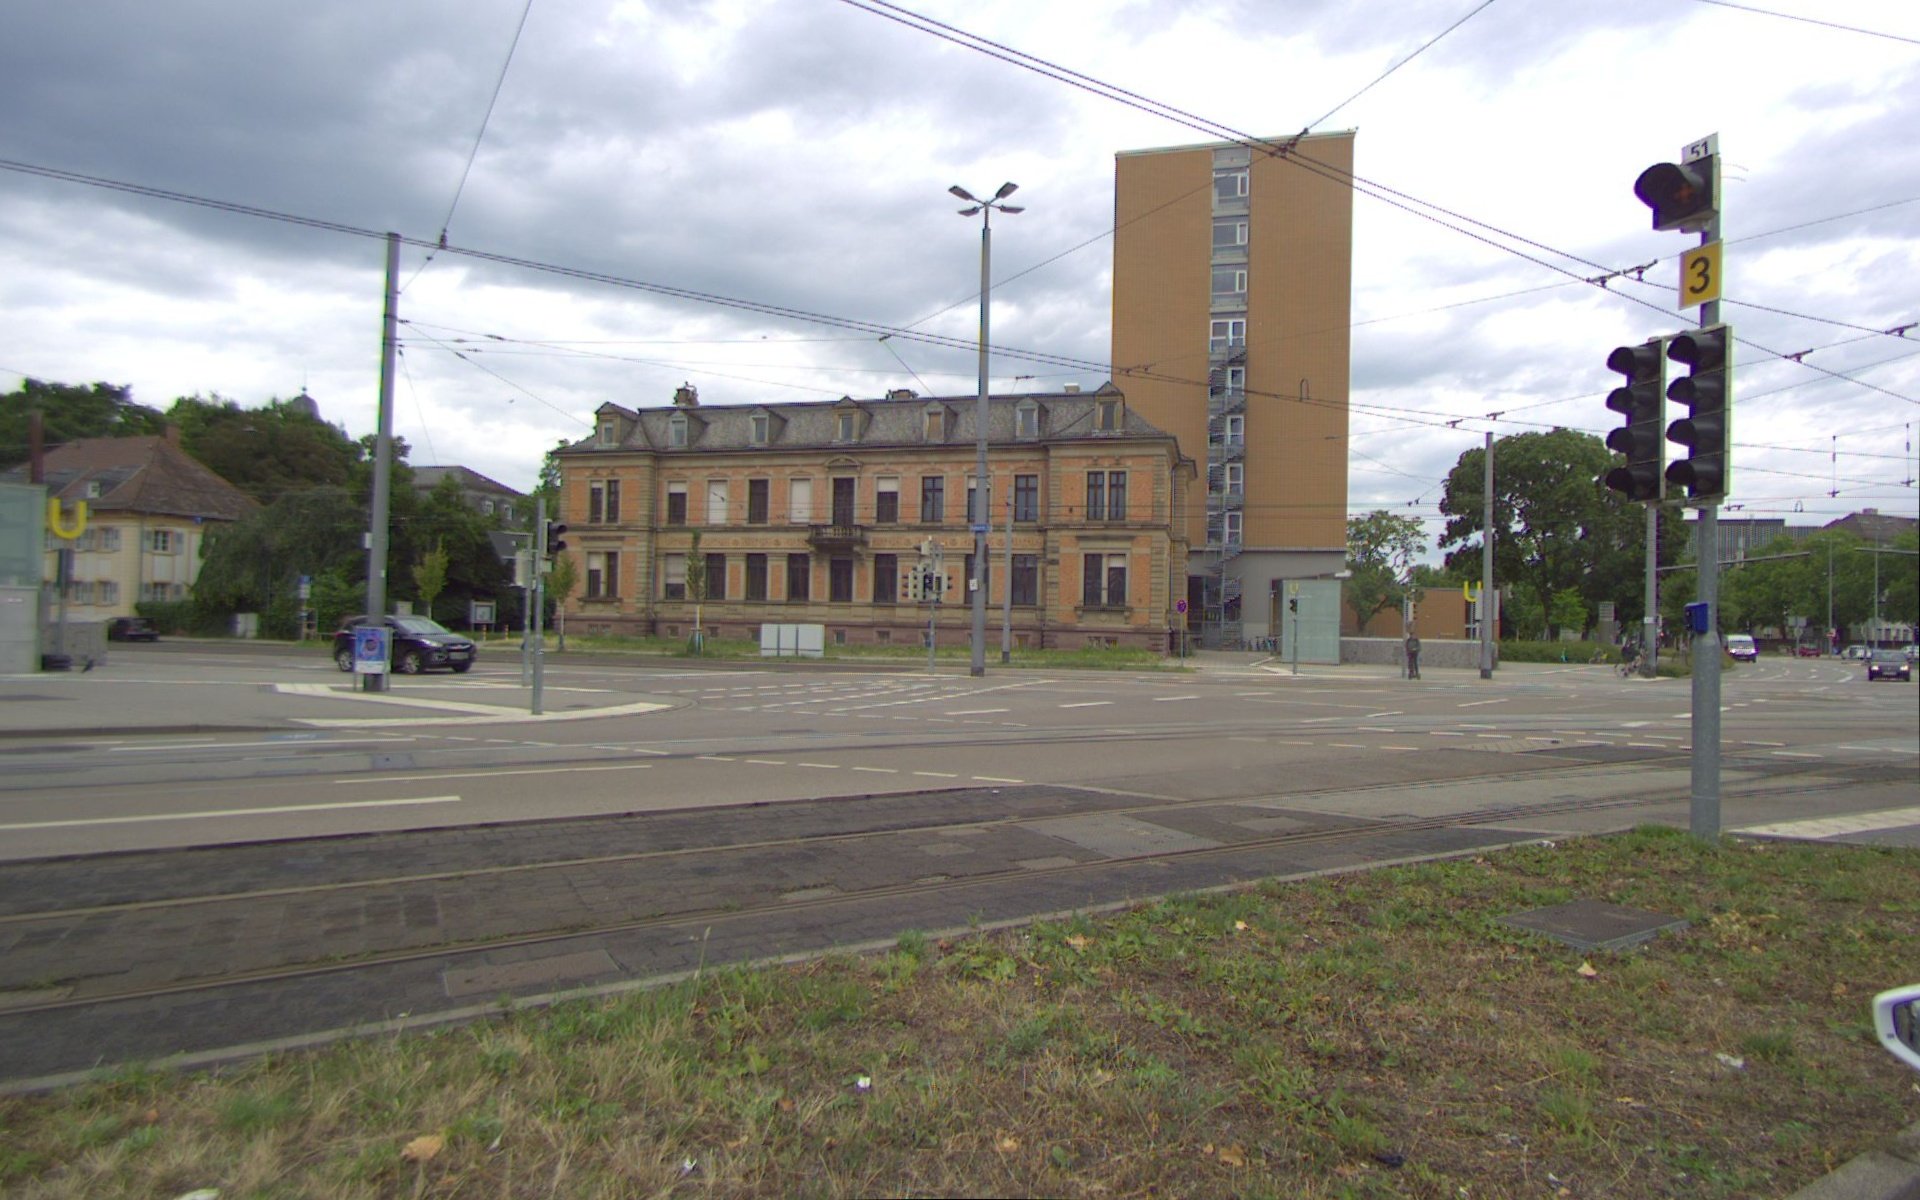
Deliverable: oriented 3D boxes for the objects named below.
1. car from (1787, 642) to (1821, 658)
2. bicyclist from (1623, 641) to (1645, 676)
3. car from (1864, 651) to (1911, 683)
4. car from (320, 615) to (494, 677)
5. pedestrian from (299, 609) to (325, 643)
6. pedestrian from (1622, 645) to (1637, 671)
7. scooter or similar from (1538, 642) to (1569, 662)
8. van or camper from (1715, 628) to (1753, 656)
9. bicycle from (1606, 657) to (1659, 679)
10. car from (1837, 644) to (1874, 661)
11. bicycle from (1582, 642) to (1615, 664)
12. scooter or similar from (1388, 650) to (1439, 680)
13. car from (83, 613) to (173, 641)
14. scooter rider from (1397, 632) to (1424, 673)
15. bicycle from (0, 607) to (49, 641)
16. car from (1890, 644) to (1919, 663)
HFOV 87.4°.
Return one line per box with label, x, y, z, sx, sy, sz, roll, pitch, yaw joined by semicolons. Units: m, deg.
car;99.099;5.834;117.996;1.962;1.795;3.999;1;-2;23
bicyclist;33.772;2.927;50.350;0.803;1.678;0.789;0;-2;42
car;46.853;3.351;50.773;1.600;1.535;3.646;-1;-3;41
car;-16.132;1.308;29.399;4.159;1.632;2.001;1;-1;14
pedestrian;-35.319;1.418;54.777;0.832;1.857;0.811;1;-1;10
pedestrian;46.379;4.030;69.583;0.681;1.756;0.739;2;-2;-44
scooter or similar;39.920;3.480;67.596;1.744;1.319;0.629;0;-1;29
van or camper;72.333;3.912;93.938;2.247;2.561;5.560;-1;-2;32
bicycle;33.725;3.395;50.377;2.090;1.042;0.790;-1;-2;44
car;92.985;5.433;104.383;1.964;1.661;3.994;1;-2;28
bicycle;43.005;3.558;67.624;2.224;1.468;0.844;2;-1;-25
scooter or similar;18.453;2.639;40.888;1.872;1.180;0.573;1;-1;-9
car;-45.550;1.463;55.006;3.920;1.450;2.001;1;-2;18
scooter rider;18.340;2.128;40.883;0.807;1.649;0.568;1;-1;-9
bicycle;-51.009;1.305;54.395;3.024;1.773;1.086;1;-1;18
car;93.587;5.249;98.855;1.963;1.773;3.996;1;-2;26
